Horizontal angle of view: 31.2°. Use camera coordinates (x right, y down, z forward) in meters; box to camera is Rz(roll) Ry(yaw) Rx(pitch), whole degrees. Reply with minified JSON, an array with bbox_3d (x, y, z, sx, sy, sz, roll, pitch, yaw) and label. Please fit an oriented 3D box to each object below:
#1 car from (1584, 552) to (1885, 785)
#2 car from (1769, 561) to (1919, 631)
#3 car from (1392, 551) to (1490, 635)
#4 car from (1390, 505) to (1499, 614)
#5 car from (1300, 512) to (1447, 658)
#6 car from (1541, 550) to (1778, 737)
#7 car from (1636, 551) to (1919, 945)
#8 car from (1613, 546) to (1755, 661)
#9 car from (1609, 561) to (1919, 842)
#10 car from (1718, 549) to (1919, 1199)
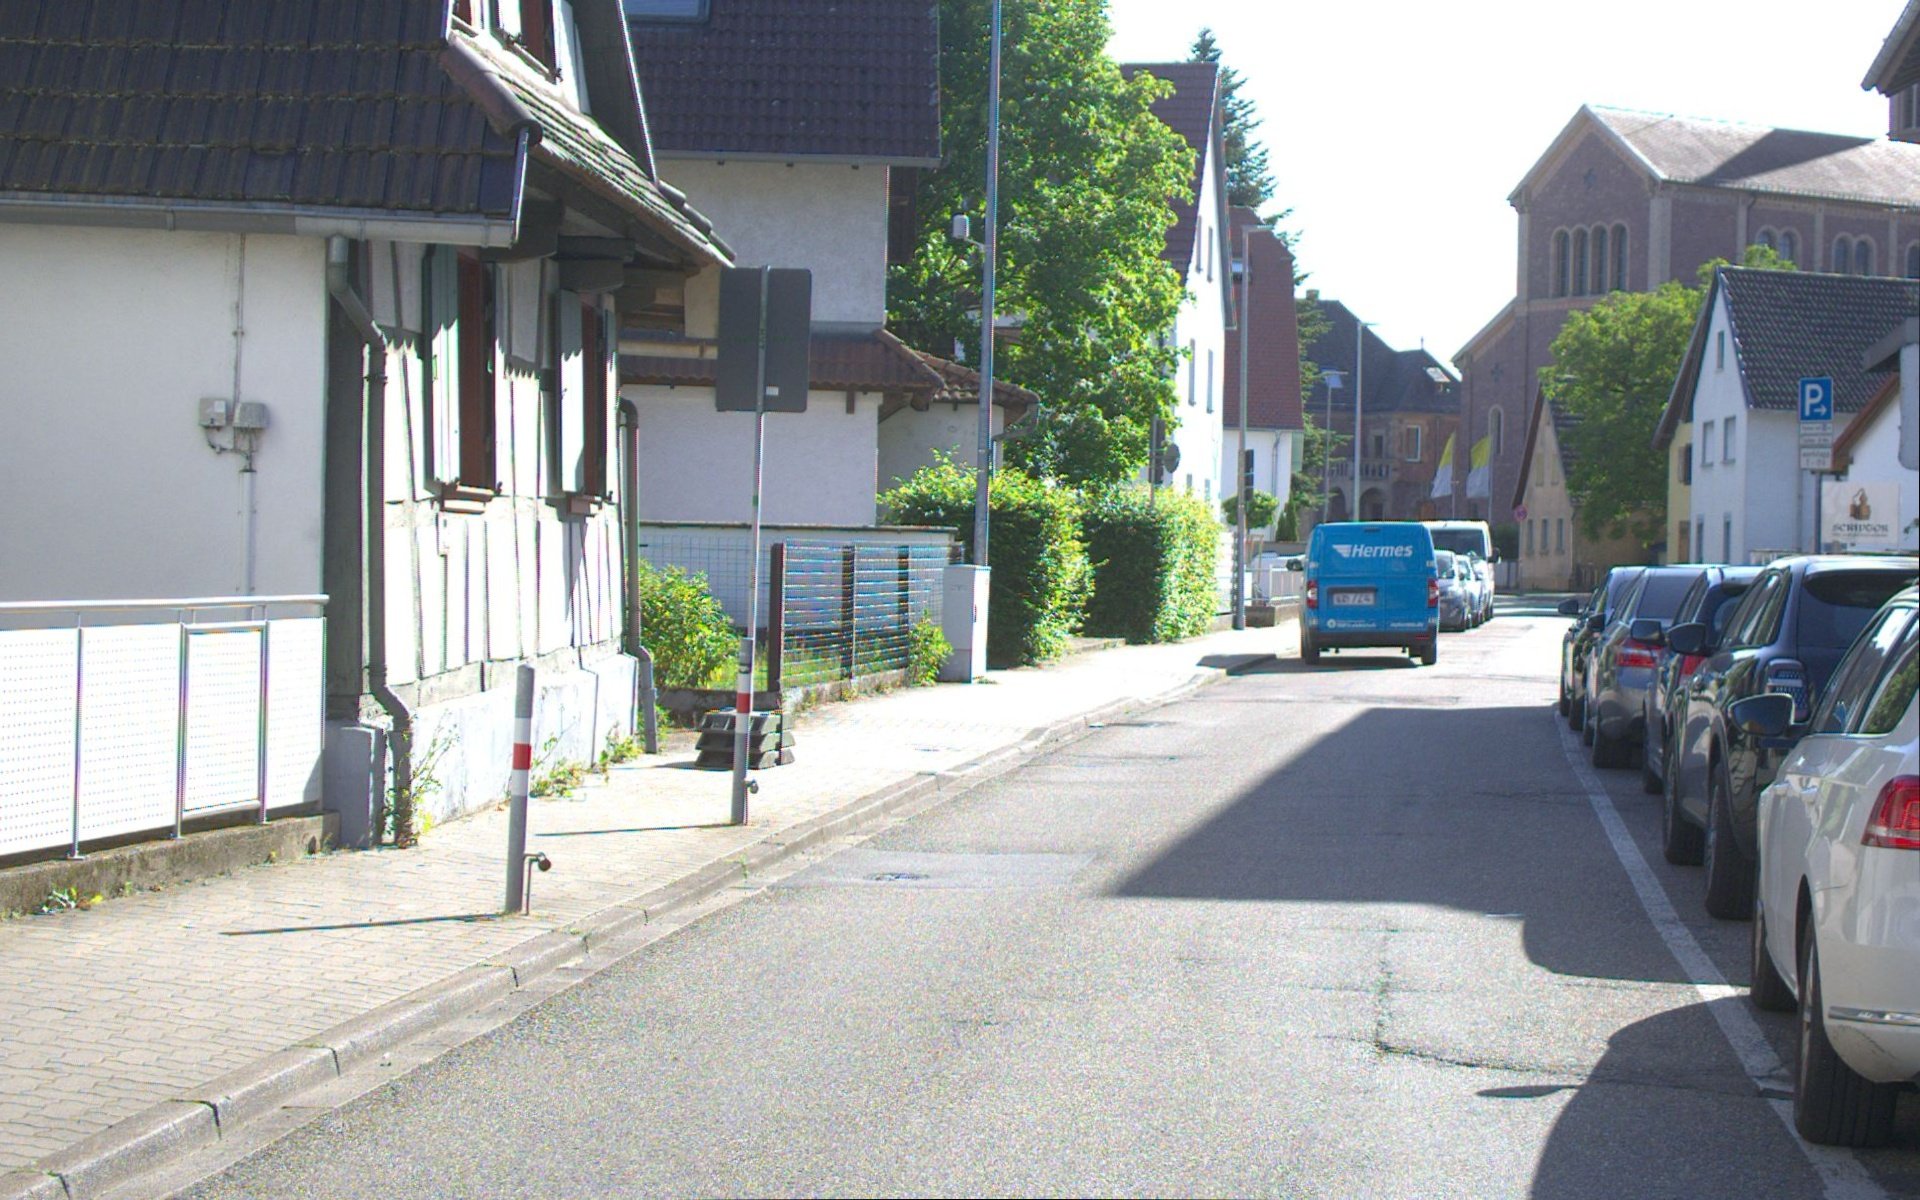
[{"bbox_3d":[5.582,0.424,25.246,1.809,1.470,4.443,3,1,9],"label":"car"},{"bbox_3d":[19.828,-0.085,75.257,3.916,1.487,1.845,1,1,20],"label":"car"},{"bbox_3d":[9.484,-0.166,67.604,1.715,1.593,3.923,0,1,11],"label":"car"},{"bbox_3d":[11.214,-0.943,79.200,2.198,2.382,6.062,-1,1,11],"label":"car"},{"bbox_3d":[5.734,-0.236,47.594,1.903,1.911,5.068,0,1,7],"label":"car"},{"bbox_3d":[6.264,0.359,31.213,1.809,1.470,4.842,3,1,9],"label":"car"},{"bbox_3d":[4.040,0.574,15.539,1.610,1.515,3.970,3,1,7],"label":"car"},{"bbox_3d":[10.178,0.020,48.411,1.812,1.470,4.657,2,1,12],"label":"car"},{"bbox_3d":[4.931,0.541,20.995,1.726,1.470,3.873,3,1,9],"label":"car"},{"bbox_3d":[3.170,0.640,9.730,1.847,1.508,4.504,2,1,11],"label":"car"}]
